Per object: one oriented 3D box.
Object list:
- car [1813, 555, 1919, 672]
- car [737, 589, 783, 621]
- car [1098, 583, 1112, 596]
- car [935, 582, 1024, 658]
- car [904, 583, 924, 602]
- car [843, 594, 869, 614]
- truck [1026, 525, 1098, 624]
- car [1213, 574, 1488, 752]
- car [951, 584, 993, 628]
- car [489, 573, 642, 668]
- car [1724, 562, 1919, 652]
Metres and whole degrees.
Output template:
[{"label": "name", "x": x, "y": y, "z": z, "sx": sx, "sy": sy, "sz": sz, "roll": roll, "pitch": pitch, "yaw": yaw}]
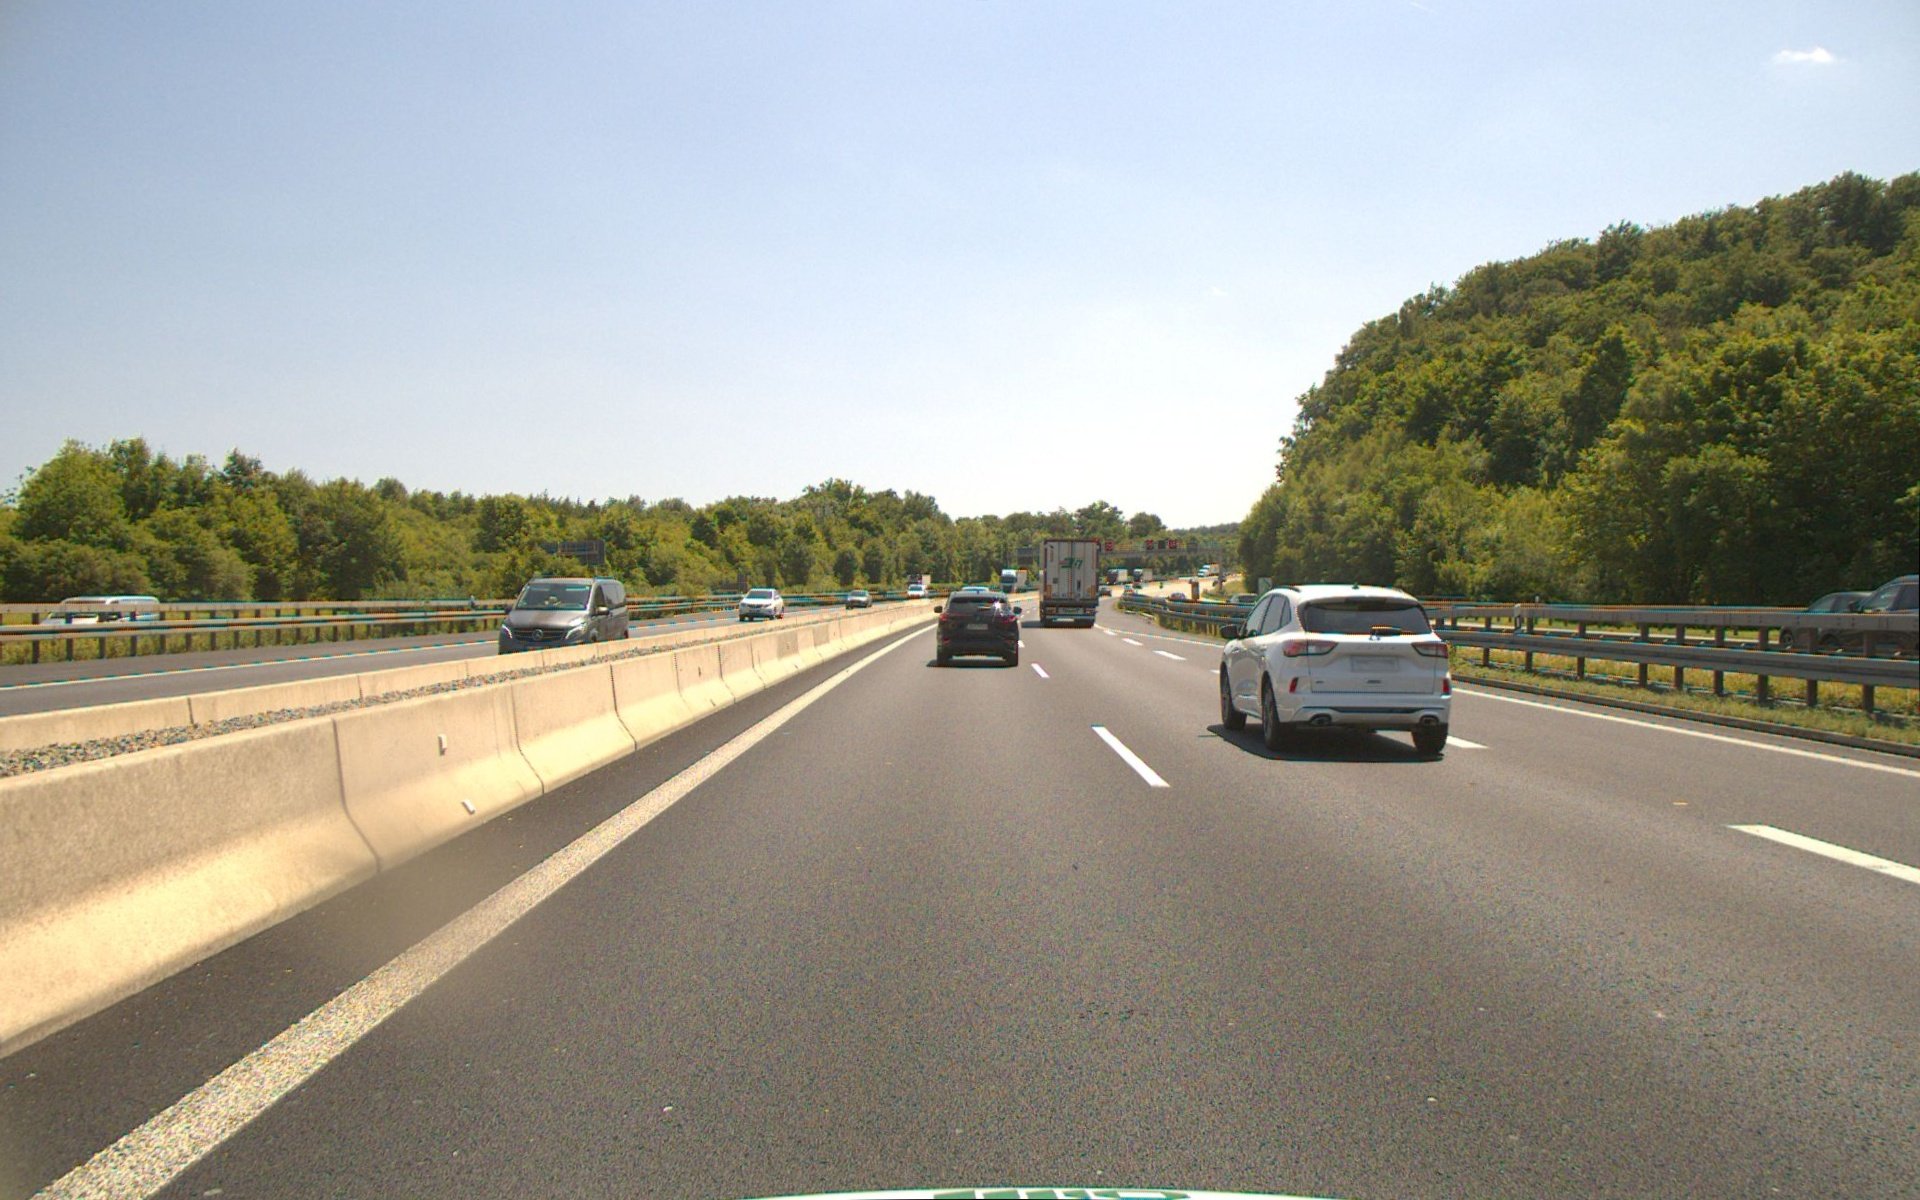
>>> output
[{"label": "car", "x": 14.814, "y": 0.197, "z": 23.996, "sx": 1.953, "sy": 1.691, "sz": 5.626, "roll": 0, "pitch": 0, "yaw": 0}, {"label": "car", "x": -10.640, "y": 0.247, "z": 88.086, "sx": 1.751, "sy": 1.660, "sz": 4.930, "roll": 0, "pitch": 0, "yaw": 1}, {"label": "car", "x": 22.519, "y": -1.585, "z": 256.918, "sx": 1.951, "sy": 2.049, "sz": 4.002, "roll": 0, "pitch": 0, "yaw": 4}, {"label": "car", "x": 0.382, "y": 0.442, "z": 37.101, "sx": 1.744, "sy": 1.605, "sz": 3.997, "roll": 1, "pitch": 0, "yaw": -3}, {"label": "car", "x": -4.869, "y": -0.773, "z": 176.842, "sx": 1.952, "sy": 2.049, "sz": 5.380, "roll": 0, "pitch": 0, "yaw": 1}, {"label": "car", "x": -8.453, "y": 0.328, "z": 134.169, "sx": 1.692, "sy": 1.559, "sz": 4.262, "roll": 1, "pitch": 0, "yaw": 1}, {"label": "truck", "x": 4.876, "y": -1.131, "z": 81.171, "sx": 2.969, "sy": 4.496, "sz": 12.019, "roll": 0, "pitch": 0, "yaw": 1}, {"label": "car", "x": 4.044, "y": 0.607, "z": 17.927, "sx": 1.952, "sy": 1.691, "sz": 4.468, "roll": 0, "pitch": 0, "yaw": 0}, {"label": "car", "x": 0.590, "y": 0.282, "z": 83.959, "sx": 1.953, "sy": 2.048, "sz": 4.000, "roll": -3, "pitch": 0, "yaw": 0}, {"label": "car", "x": -8.372, "y": 0.421, "z": 35.638, "sx": 1.993, "sy": 1.890, "sz": 5.375, "roll": 0, "pitch": 0, "yaw": 0}, {"label": "car", "x": 17.918, "y": 0.153, "z": 33.787, "sx": 1.954, "sy": 1.691, "sz": 5.224, "roll": 0, "pitch": 0, "yaw": -4}]
